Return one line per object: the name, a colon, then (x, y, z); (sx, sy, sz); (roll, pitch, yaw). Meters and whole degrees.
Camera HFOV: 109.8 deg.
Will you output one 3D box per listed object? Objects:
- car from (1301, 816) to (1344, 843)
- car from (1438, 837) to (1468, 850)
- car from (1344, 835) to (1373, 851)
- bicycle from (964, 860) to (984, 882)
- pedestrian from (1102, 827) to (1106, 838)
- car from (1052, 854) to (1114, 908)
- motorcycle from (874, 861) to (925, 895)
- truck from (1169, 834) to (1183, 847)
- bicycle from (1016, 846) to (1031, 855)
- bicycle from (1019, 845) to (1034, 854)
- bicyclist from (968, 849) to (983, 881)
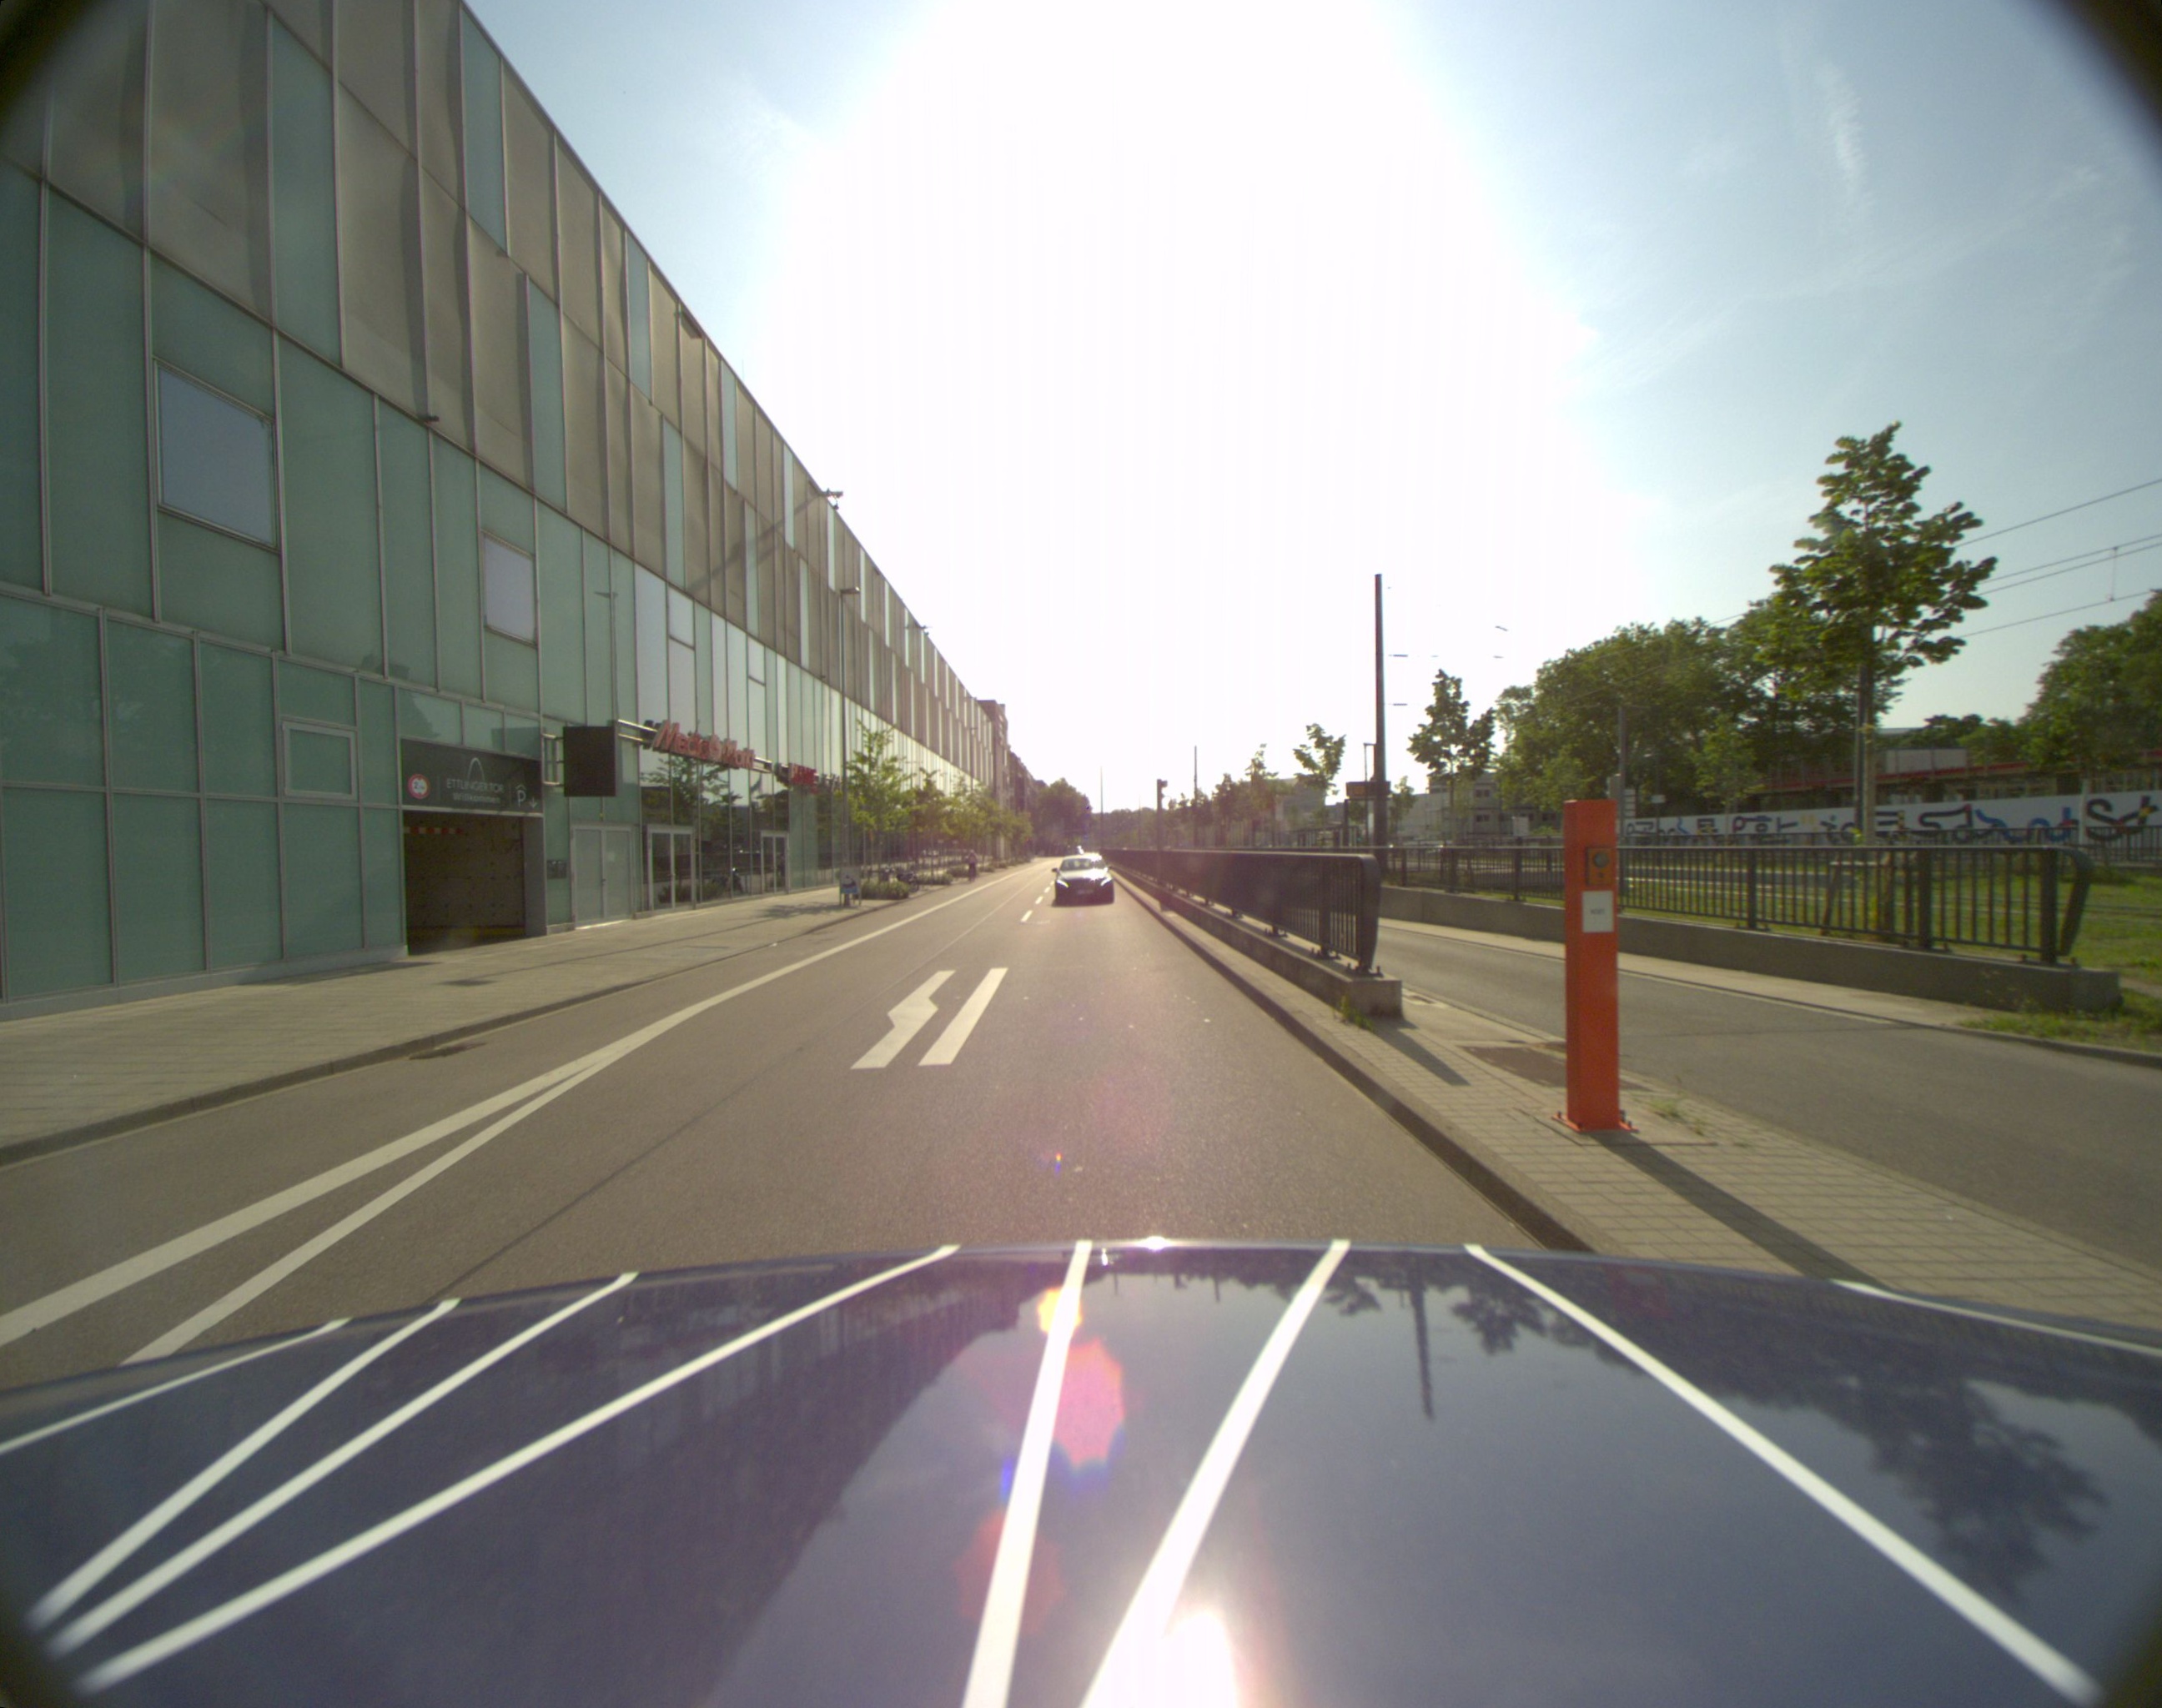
car: (34.005, -3.380, 107.477); (3.062, 3.492, 9.232); (-2, 1, 0)
car: (36.077, -1.001, 73.783); (1.504, 1.195, 2.960); (-2, 1, 0)
car: (30.218, -1.250, 82.772); (1.725, 1.653, 4.150); (-1, 1, 1)
bicycle: (-5.786, 0.926, 41.340); (0.662, 1.111, 2.051); (-1, 1, 3)
pedestrian: (3.483, -3.174, 114.506); (0.468, 1.640, 0.777); (-1, 1, 1)
car: (0.170, 0.799, 24.823); (1.716, 1.429, 5.057); (-2, 1, 3)
motorcycle: (-7.512, 0.980, 31.539); (1.975, 1.342, 0.866); (-1, 2, -10)
truck: (26.597, -3.787, 213.169); (3.029, 3.566, 8.889); (-1, 1, 1)
bicycle: (-7.289, -0.432, 96.673); (1.883, 1.103, 0.490); (-1, 1, 2)
bicycle: (-7.213, -0.583, 100.847); (1.843, 1.106, 0.687); (-3, 1, 3)
bicyclist: (-5.778, 0.598, 41.505); (0.652, 1.739, 0.769); (-1, 1, 3)
